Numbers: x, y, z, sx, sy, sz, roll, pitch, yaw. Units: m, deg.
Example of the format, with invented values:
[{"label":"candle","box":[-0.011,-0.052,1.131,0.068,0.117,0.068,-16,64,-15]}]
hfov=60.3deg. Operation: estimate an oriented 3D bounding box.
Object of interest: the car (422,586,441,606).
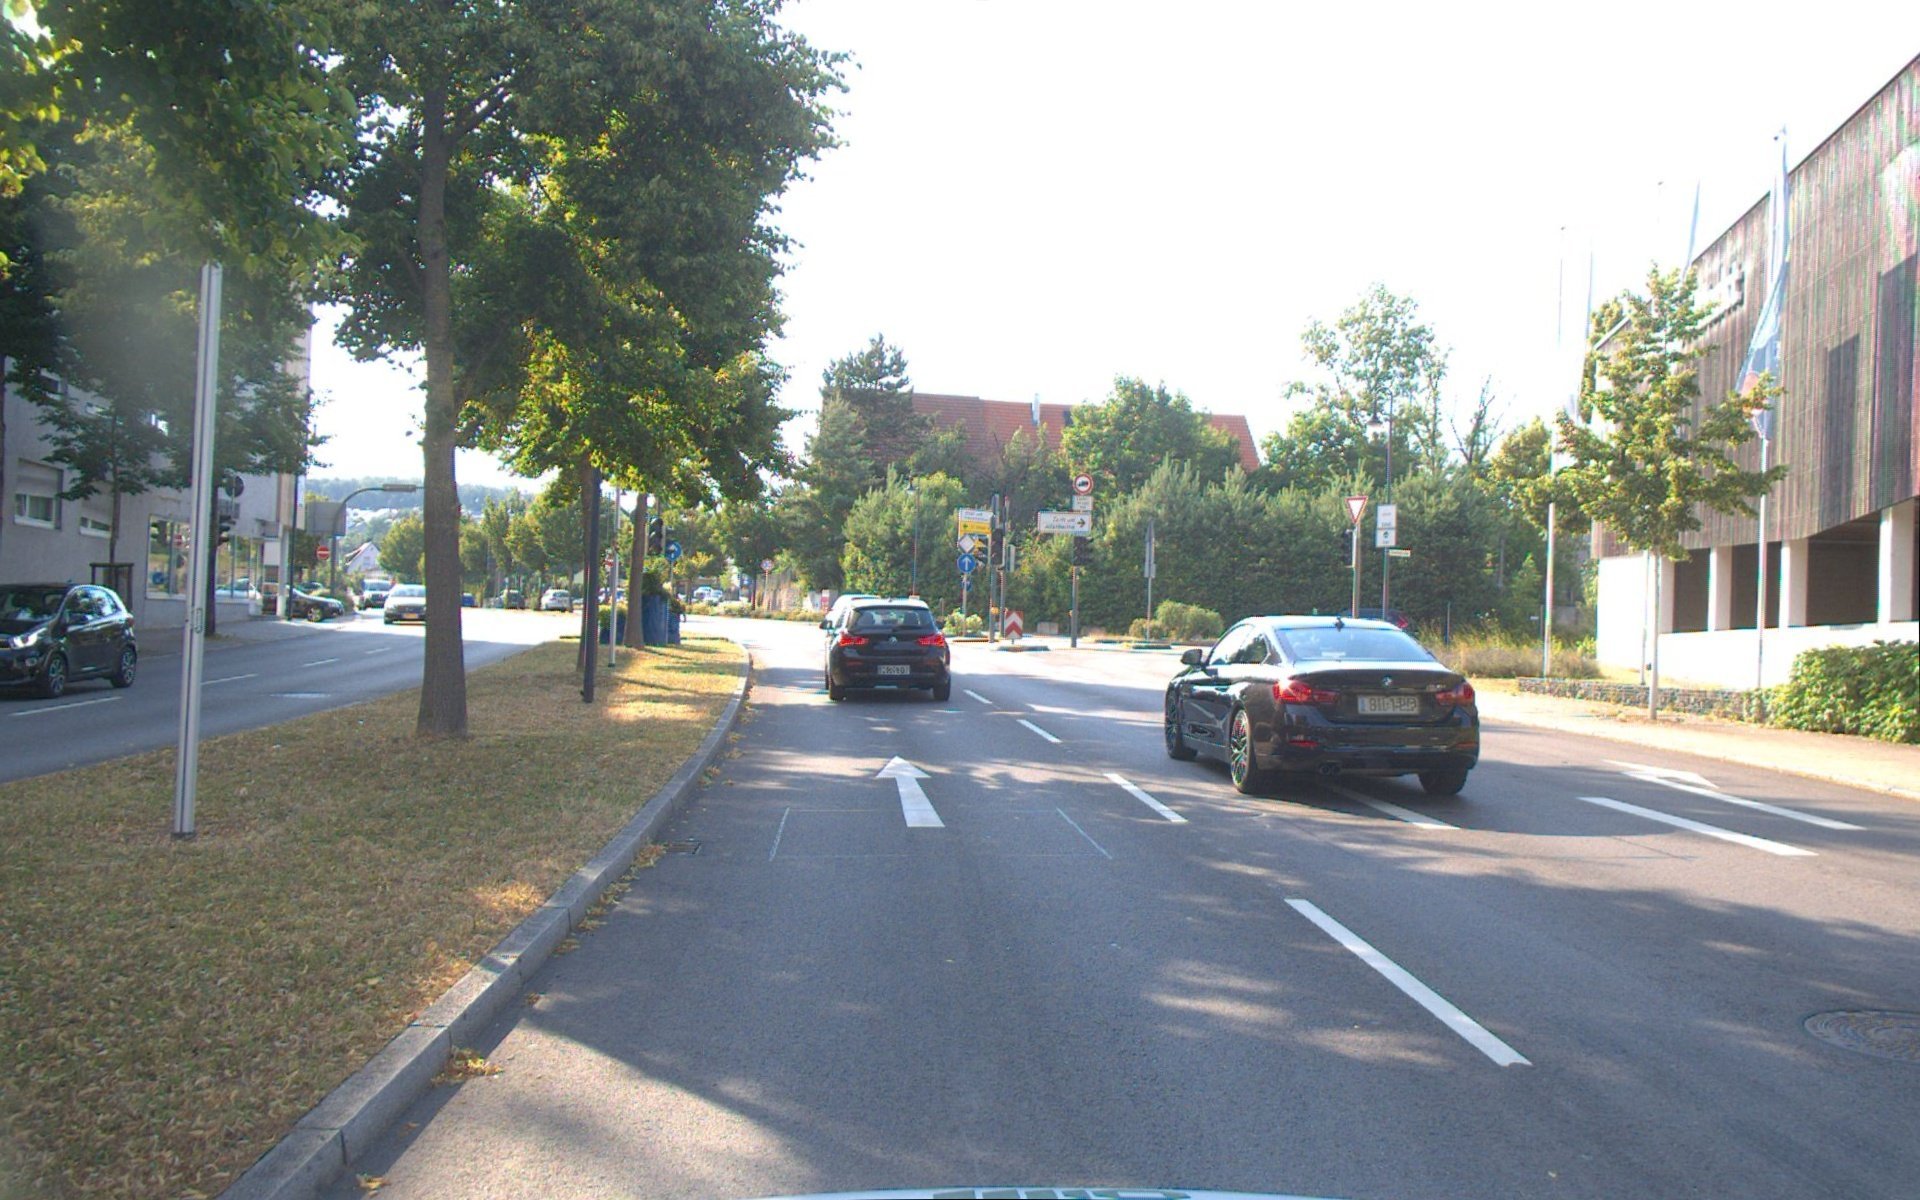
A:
[{"label":"car","box":[-56.295,-0.397,176.148,1.747,2.049,3.976,1,0,-20]}]

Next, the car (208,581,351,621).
[{"label":"car","box":[-25.893,0.051,63.109,4.777,1.462,1.910,1,0,-15]}]

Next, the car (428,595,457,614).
[{"label":"car","box":[-50.951,0.458,162.715,2.189,1.800,4.419,1,0,-25]}]

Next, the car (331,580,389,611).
[{"label":"car","box":[-36.069,-0.263,99.384,1.840,1.767,4.855,1,0,-38]}]

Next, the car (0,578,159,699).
[{"label":"car","box":[-12.447,0.482,22.446,1.574,1.512,3.780,1,0,-5]}]

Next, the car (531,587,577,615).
[{"label":"car","box":[-27.365,0.078,111.341,2.189,1.800,4.419,1,0,-25]}]

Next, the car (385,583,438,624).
[{"label":"car","box":[-21.029,0.138,63.465,1.824,1.512,4.970,1,0,-18]}]

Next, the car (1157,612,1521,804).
[{"label":"car","box":[3.044,0.809,14.286,1.882,1.388,4.349,1,0,-4]}]

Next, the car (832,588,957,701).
[{"label":"car","box":[-0.981,0.622,24.972,1.686,1.516,4.351,1,0,-2]}]

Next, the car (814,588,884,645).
[{"label":"car","box":[-3.773,0.528,55.526,1.890,1.800,4.444,1,0,-10]}]

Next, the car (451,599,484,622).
[{"label":"car","box":[-43.397,0.919,145.605,2.189,1.891,4.419,1,0,-25]}]

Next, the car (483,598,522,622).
[{"label":"car","box":[-35.348,0.743,127.793,2.189,1.800,4.419,1,0,-25]}]

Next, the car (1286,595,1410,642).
[{"label":"car","box":[14.334,0.664,61.114,4.174,1.594,1.790,1,0,27]}]

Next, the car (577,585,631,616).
[{"label":"car","box":[-21.184,0.011,98.380,2.189,1.800,4.419,1,0,-25]}]
